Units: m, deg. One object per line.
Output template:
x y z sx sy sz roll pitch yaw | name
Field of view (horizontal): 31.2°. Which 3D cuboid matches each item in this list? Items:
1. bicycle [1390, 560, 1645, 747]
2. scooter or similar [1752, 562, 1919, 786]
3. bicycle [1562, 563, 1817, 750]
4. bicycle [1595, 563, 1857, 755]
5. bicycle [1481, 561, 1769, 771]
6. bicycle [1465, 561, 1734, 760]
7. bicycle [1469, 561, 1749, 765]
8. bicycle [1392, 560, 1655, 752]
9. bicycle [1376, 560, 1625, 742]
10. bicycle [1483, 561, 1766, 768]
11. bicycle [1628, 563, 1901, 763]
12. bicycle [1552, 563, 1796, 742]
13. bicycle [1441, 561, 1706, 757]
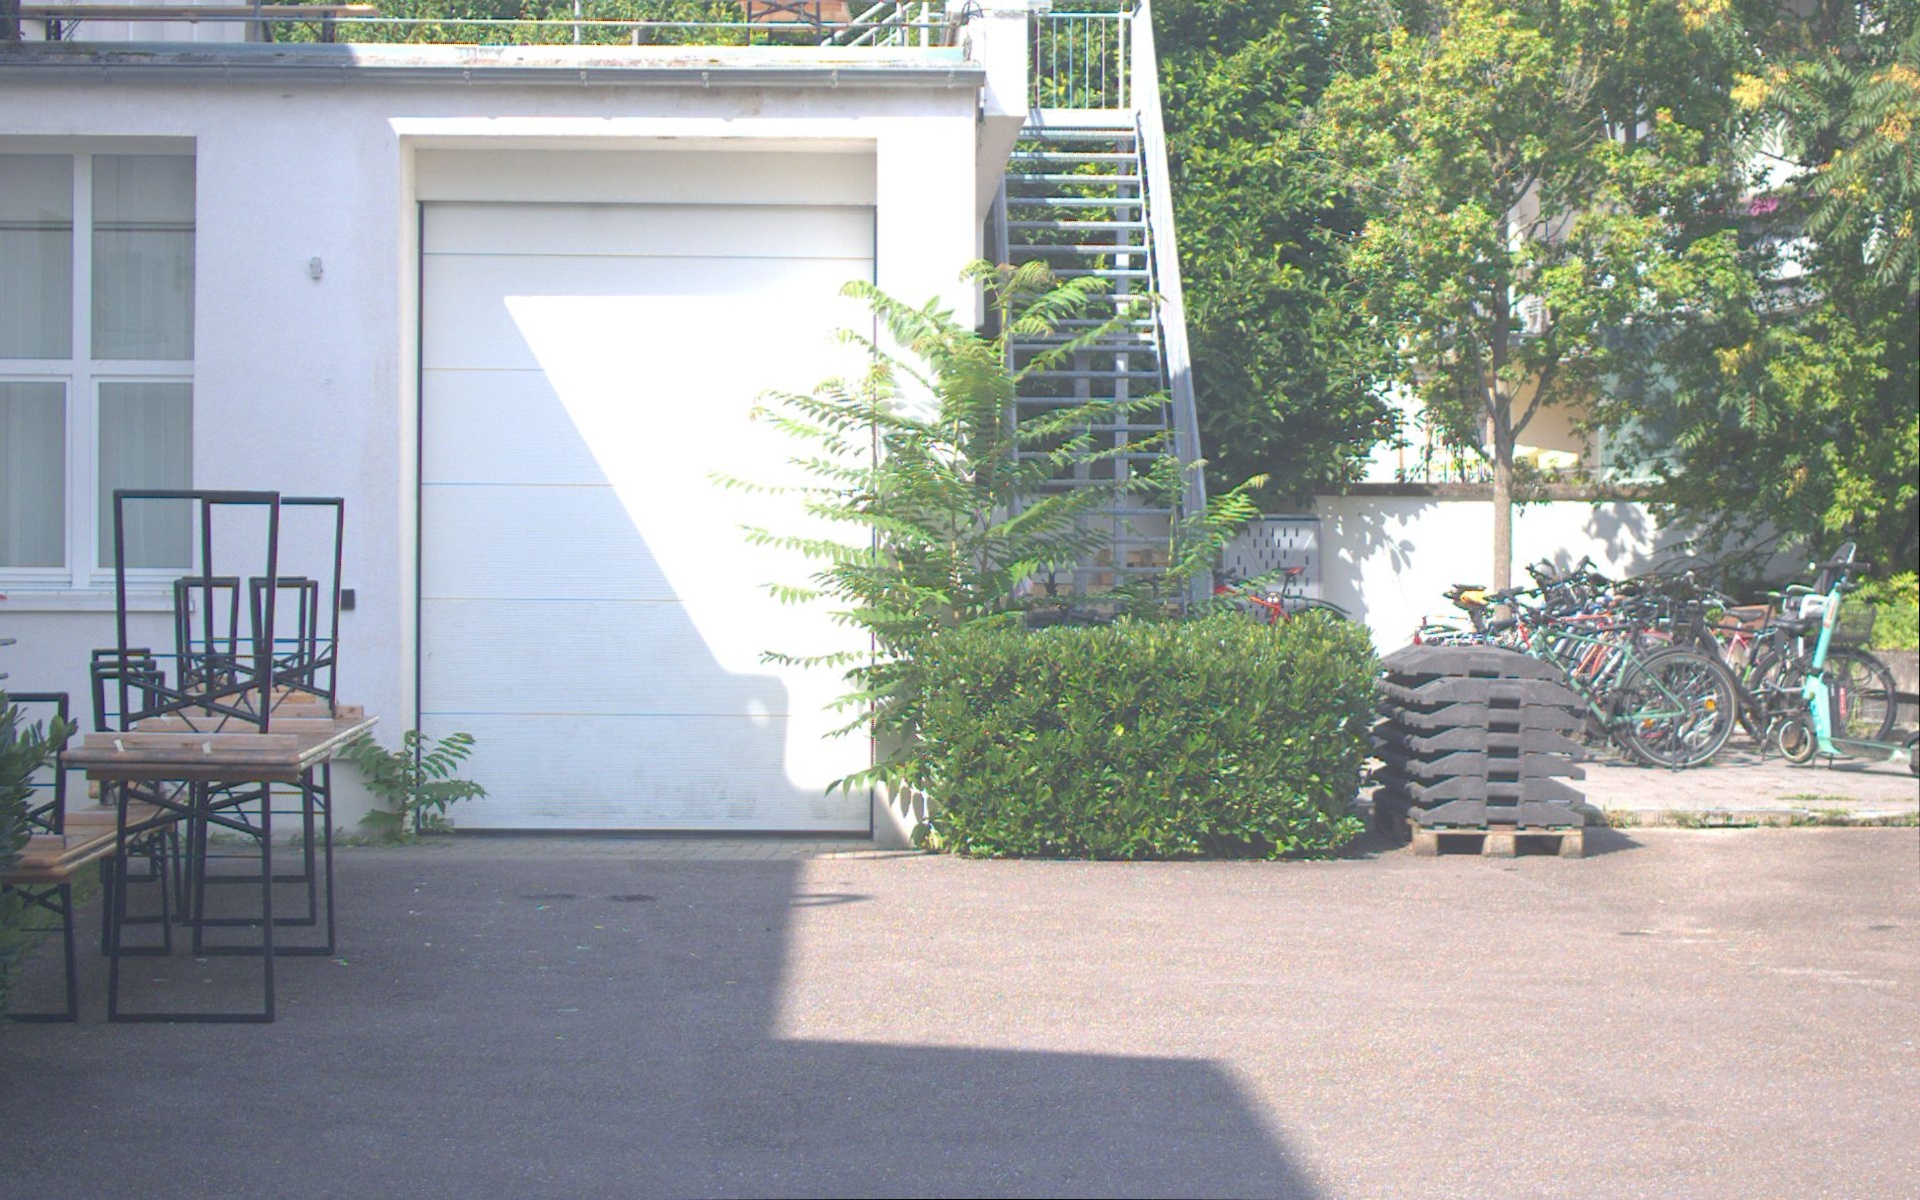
3.717 0.349 22.942 1.623 1.210 0.424 -1 1 -7 | bicycle
5.243 0.410 19.986 0.378 1.256 1.349 -1 1 -33 | scooter or similar
4.792 0.367 22.626 1.624 1.210 0.424 0 1 11 | bicycle
4.904 0.375 22.052 1.624 1.210 0.424 0 1 12 | bicycle
3.904 0.385 20.204 1.623 1.210 0.327 -1 1 0 | bicycle
3.947 0.372 21.271 1.623 1.210 0.327 0 1 9 | bicycle
3.924 0.378 20.820 1.623 1.210 0.327 -1 1 0 | bicycle
3.651 0.356 22.306 1.623 1.210 0.424 -1 1 -2 | bicycle
3.695 0.342 23.544 1.623 1.210 0.424 -1 1 -6 | bicycle
3.961 0.382 20.526 1.623 1.210 0.327 -1 1 0 | bicycle
4.953 0.386 21.192 1.624 1.210 0.327 0 1 14 | bicycle
4.905 0.355 23.654 1.624 1.210 0.424 0 1 11 | bicycle
3.858 0.367 21.634 1.624 1.210 0.327 0 1 12 | bicycle
